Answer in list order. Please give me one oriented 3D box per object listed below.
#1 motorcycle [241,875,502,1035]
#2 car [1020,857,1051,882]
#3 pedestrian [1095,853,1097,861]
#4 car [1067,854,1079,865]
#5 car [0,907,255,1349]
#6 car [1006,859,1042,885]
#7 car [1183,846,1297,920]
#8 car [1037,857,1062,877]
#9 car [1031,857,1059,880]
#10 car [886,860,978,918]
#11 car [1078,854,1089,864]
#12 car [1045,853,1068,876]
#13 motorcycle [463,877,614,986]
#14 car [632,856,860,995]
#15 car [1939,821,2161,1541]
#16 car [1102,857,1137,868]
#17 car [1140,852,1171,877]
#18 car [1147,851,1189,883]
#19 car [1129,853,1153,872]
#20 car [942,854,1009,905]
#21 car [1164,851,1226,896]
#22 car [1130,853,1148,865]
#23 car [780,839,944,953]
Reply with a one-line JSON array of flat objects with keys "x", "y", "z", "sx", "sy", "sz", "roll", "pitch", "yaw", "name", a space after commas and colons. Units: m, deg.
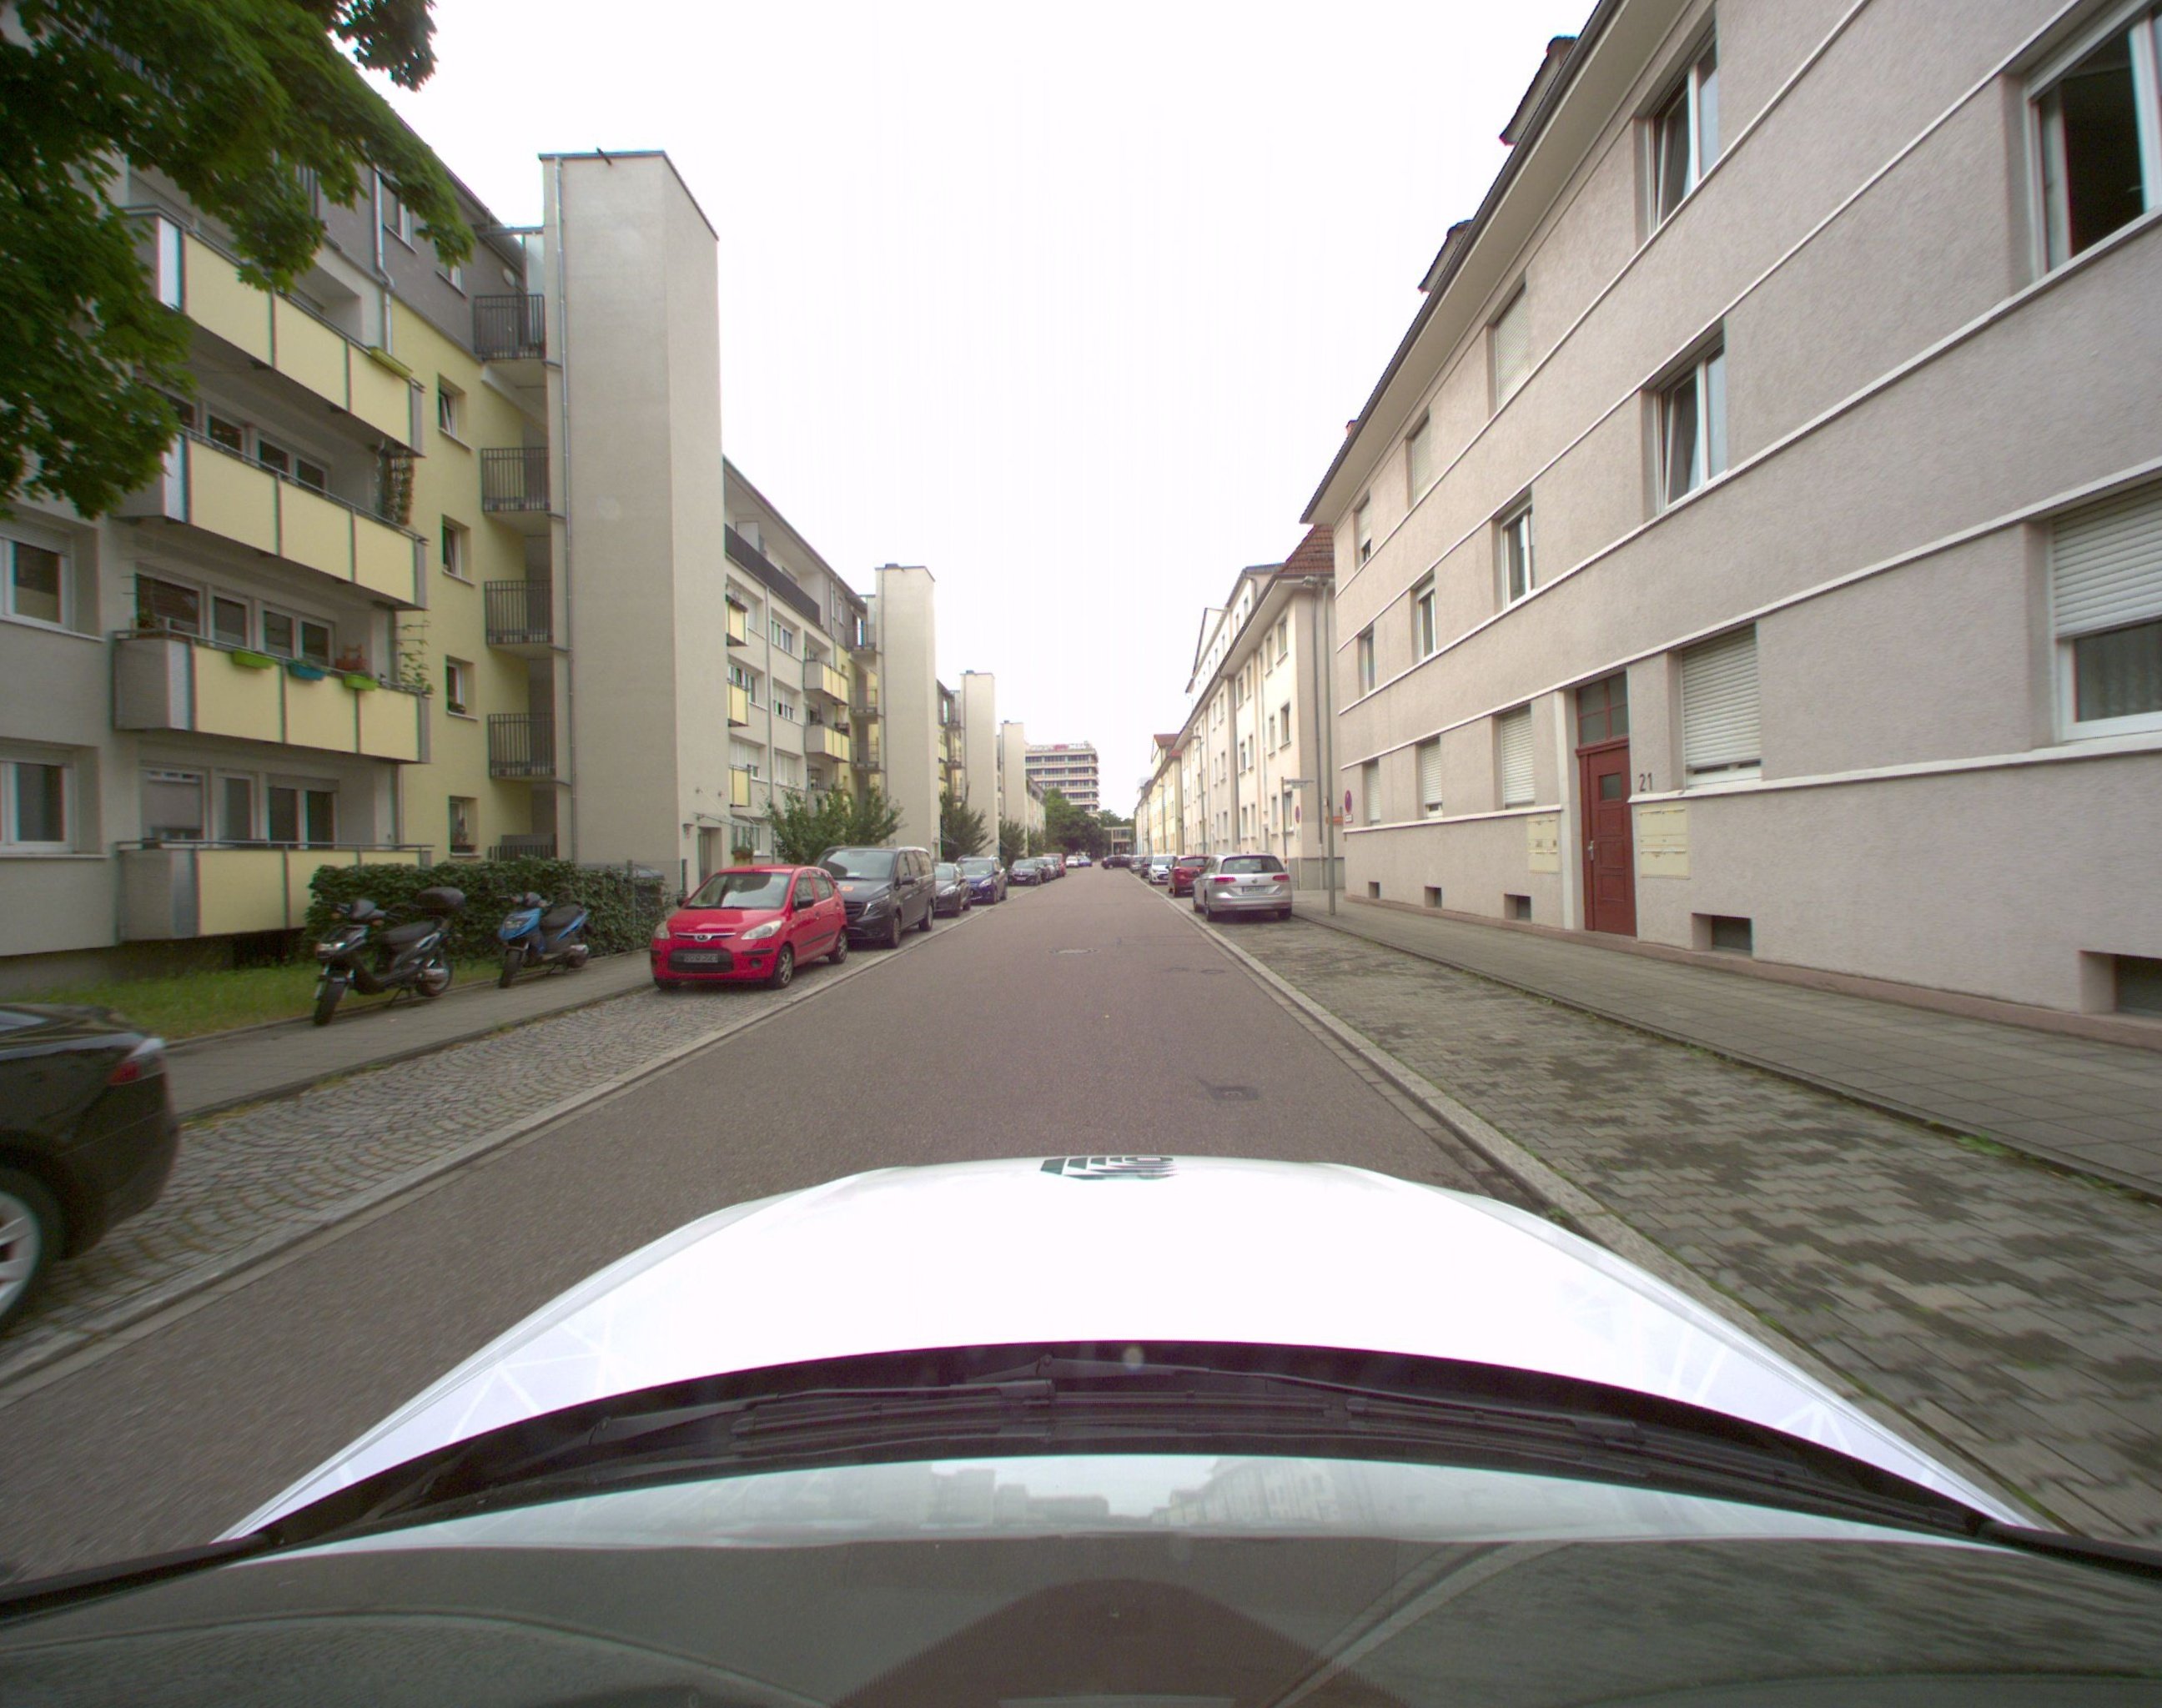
[{"x": -7.177, "y": 0.937, "z": 8.443, "sx": 0.675, "sy": 1.356, "sz": 2.230, "roll": 1, "pitch": 0, "yaw": 2, "name": "motorcycle"}, {"x": -2.903, "y": 0.965, "z": 52.330, "sx": 1.665, "sy": 1.564, "sz": 3.665, "roll": -1, "pitch": 0, "yaw": 2, "name": "car"}, {"x": 3.570, "y": 0.714, "z": 193.783, "sx": 0.627, "sy": 2.013, "sz": 0.683, "roll": 1, "pitch": 0, "yaw": 1, "name": "pedestrian"}, {"x": -1.077, "y": 0.734, "z": 109.545, "sx": 1.533, "sy": 1.450, "sz": 3.743, "roll": -1, "pitch": 0, "yaw": 2, "name": "car"}, {"x": -4.607, "y": 0.950, "z": 1.249, "sx": 1.835, "sy": 1.421, "sz": 4.632, "roll": 1, "pitch": 0, "yaw": 2, "name": "car"}, {"x": -3.232, "y": 0.986, "z": 46.581, "sx": 1.665, "sy": 1.352, "sz": 3.818, "roll": -1, "pitch": 0, "yaw": 2, "name": "car"}, {"x": 3.502, "y": 0.574, "z": 18.732, "sx": 1.749, "sy": 1.467, "sz": 4.601, "roll": -1, "pitch": 0, "yaw": 1, "name": "car"}, {"x": -2.398, "y": 1.006, "z": 63.598, "sx": 1.665, "sy": 1.487, "sz": 3.743, "roll": -1, "pitch": 0, "yaw": 2, "name": "car"}, {"x": -2.574, "y": 0.994, "z": 58.447, "sx": 1.665, "sy": 1.526, "sz": 4.254, "roll": -1, "pitch": 0, "yaw": 2, "name": "car"}, {"x": -4.141, "y": 0.915, "z": 23.268, "sx": 1.824, "sy": 1.459, "sz": 4.259, "roll": -1, "pitch": 0, "yaw": 0, "name": "car"}, {"x": 0.339, "y": 0.778, "z": 120.169, "sx": 1.534, "sy": 1.450, "sz": 3.740, "roll": -1, "pitch": 0, "yaw": -1, "name": "car"}, {"x": -2.064, "y": 0.858, "z": 68.701, "sx": 1.665, "sy": 1.938, "sz": 3.743, "roll": -1, "pitch": 0, "yaw": 2, "name": "car"}, {"x": -7.032, "y": 0.956, "z": 10.680, "sx": 0.633, "sy": 1.230, "sz": 1.834, "roll": 3, "pitch": 0, "yaw": 2, "name": "motorcycle"}, {"x": -4.404, "y": 0.843, "z": 11.325, "sx": 1.558, "sy": 1.569, "sz": 3.643, "roll": 1, "pitch": 0, "yaw": 1, "name": "car"}, {"x": 3.056, "y": 0.665, "z": 0.202, "sx": 1.690, "sy": 1.525, "sz": 3.827, "roll": -3, "pitch": 0, "yaw": 2, "name": "car"}, {"x": 4.235, "y": 0.915, "z": 89.421, "sx": 3.714, "sy": 1.214, "sz": 1.545, "roll": -1, "pitch": 0, "yaw": 2, "name": "car"}, {"x": 4.807, "y": 0.659, "z": 53.022, "sx": 1.812, "sy": 1.577, "sz": 3.754, "roll": -1, "pitch": 0, "yaw": 2, "name": "car"}, {"x": 4.307, "y": 0.629, "z": 40.919, "sx": 1.812, "sy": 1.504, "sz": 3.754, "roll": -1, "pitch": 0, "yaw": 2, "name": "car"}, {"x": 5.120, "y": 0.694, "z": 69.896, "sx": 1.812, "sy": 1.577, "sz": 3.885, "roll": -1, "pitch": 0, "yaw": 2, "name": "car"}, {"x": -3.659, "y": 0.826, "z": 28.881, "sx": 1.764, "sy": 1.643, "sz": 4.354, "roll": -1, "pitch": 0, "yaw": 0, "name": "car"}, {"x": 3.986, "y": 0.644, "z": 29.005, "sx": 1.664, "sy": 1.420, "sz": 4.000, "roll": -3, "pitch": 0, "yaw": 1, "name": "car"}, {"x": 6.923, "y": 0.608, "z": 97.556, "sx": 1.986, "sy": 1.398, "sz": 4.001, "roll": 1, "pitch": 0, "yaw": 1, "name": "car"}, {"x": -4.141, "y": 0.704, "z": 16.338, "sx": 1.873, "sy": 1.904, "sz": 5.030, "roll": 1, "pitch": 0, "yaw": 0, "name": "car"}]
